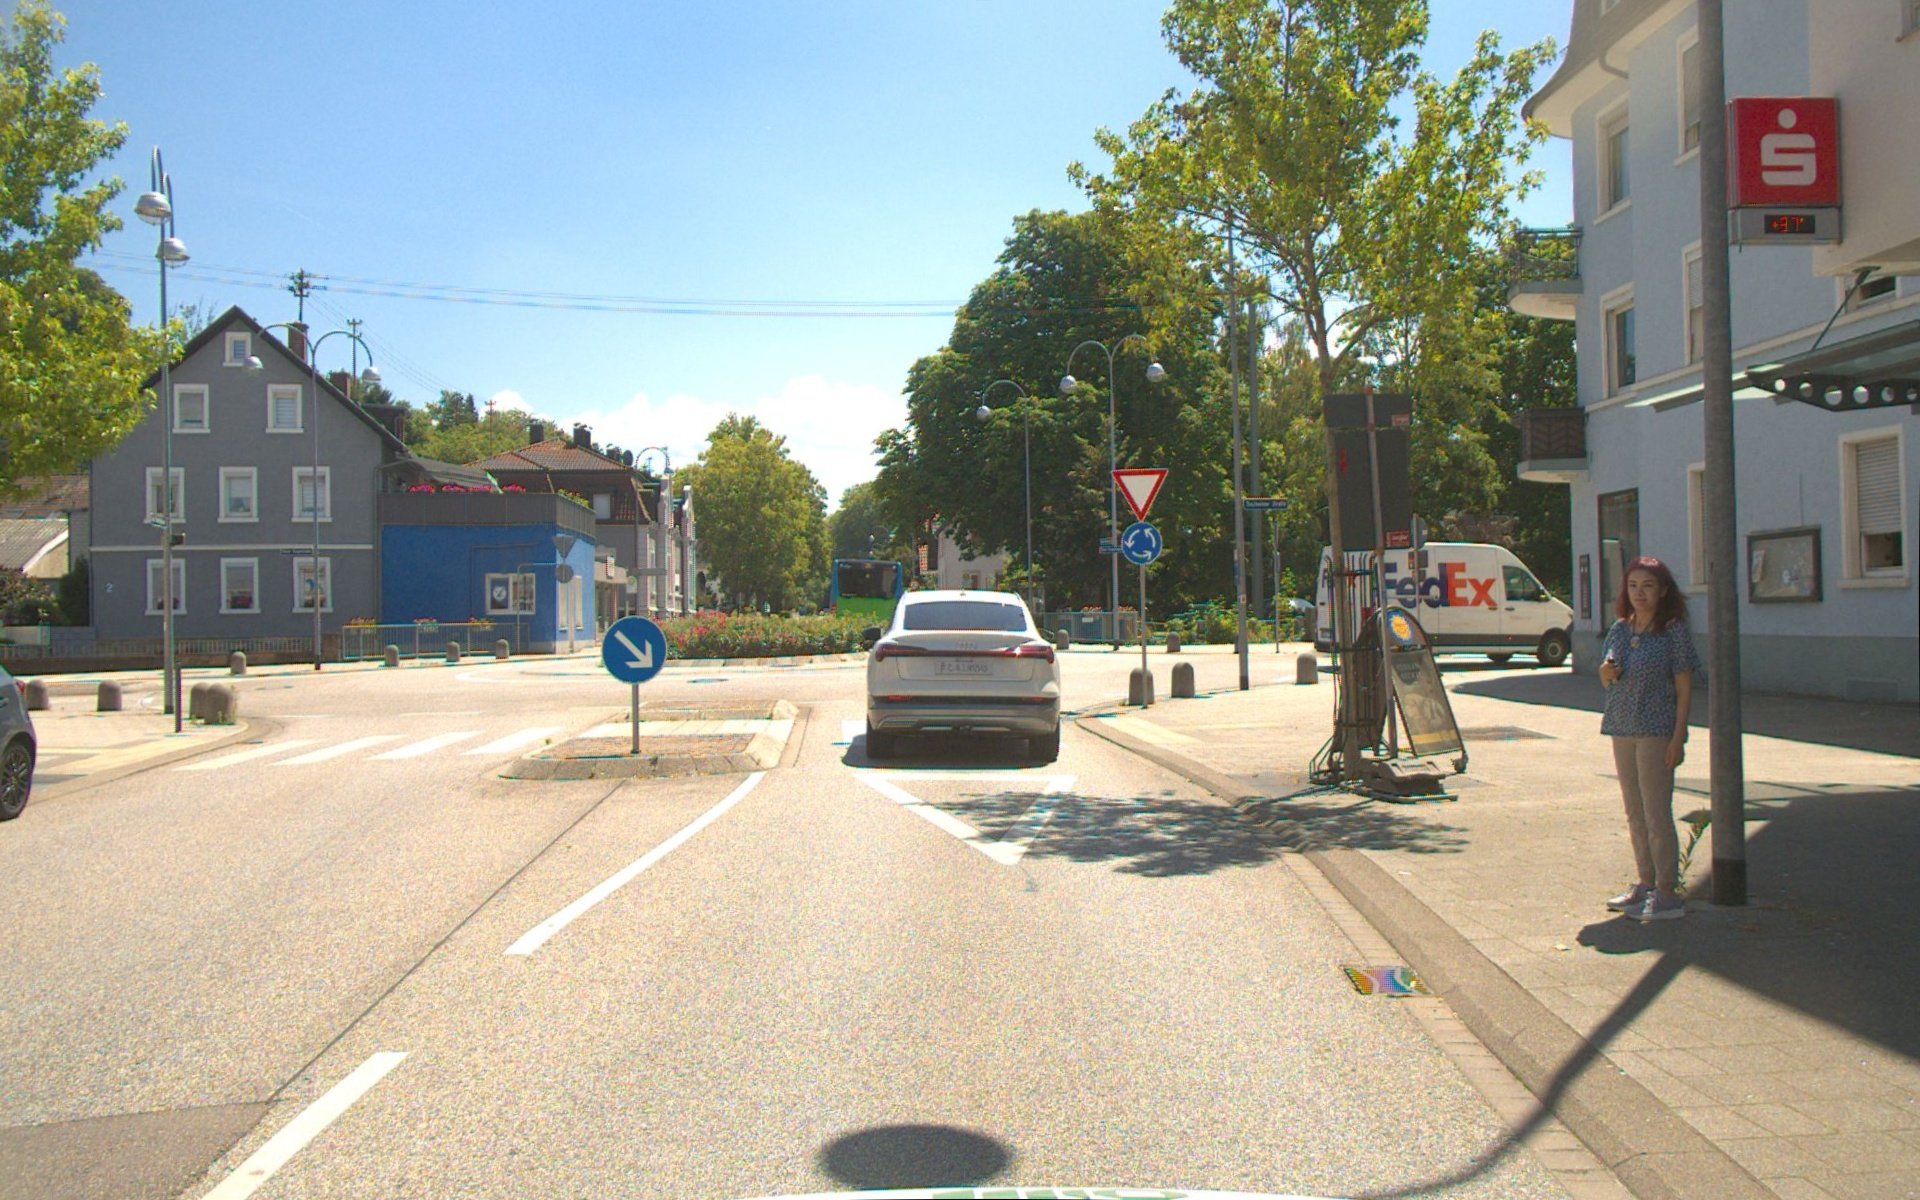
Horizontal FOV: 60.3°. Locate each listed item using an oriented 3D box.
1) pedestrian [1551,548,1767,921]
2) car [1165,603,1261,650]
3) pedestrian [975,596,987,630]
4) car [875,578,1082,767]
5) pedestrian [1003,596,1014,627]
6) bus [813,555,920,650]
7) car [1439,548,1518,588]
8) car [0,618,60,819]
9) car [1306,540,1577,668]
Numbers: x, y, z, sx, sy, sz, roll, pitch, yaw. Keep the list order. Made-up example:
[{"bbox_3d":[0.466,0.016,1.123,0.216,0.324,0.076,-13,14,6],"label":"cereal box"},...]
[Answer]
[{"bbox_3d":[3.205,0.594,7.624,0.717,1.638,0.559,-1,0,-2],"label":"pedestrian"},{"bbox_3d":[9.072,0.946,59.411,3.001,1.580,1.626,-1,0,-17],"label":"car"},{"bbox_3d":[1.059,0.661,84.544,0.493,1.679,0.578,-1,0,-9],"label":"pedestrian"},{"bbox_3d":[0.067,0.661,17.152,1.860,1.691,4.407,1,0,-3],"label":"car"},{"bbox_3d":[2.464,0.589,84.417,0.480,1.548,0.541,-1,0,-9],"label":"pedestrian"},{"bbox_3d":[-4.024,0.187,66.419,3.634,3.227,18.048,1,-1,-5],"label":"bus"},{"bbox_3d":[28.094,-1.724,89.616,3.906,2.049,2.000,-1,0,23],"label":"car"},{"bbox_3d":[-7.994,0.892,11.479,1.635,1.512,4.054,2,0,-7],"label":"car"},{"bbox_3d":[10.231,0.051,35.145,5.386,2.524,1.988,-1,0,-21],"label":"car"}]
